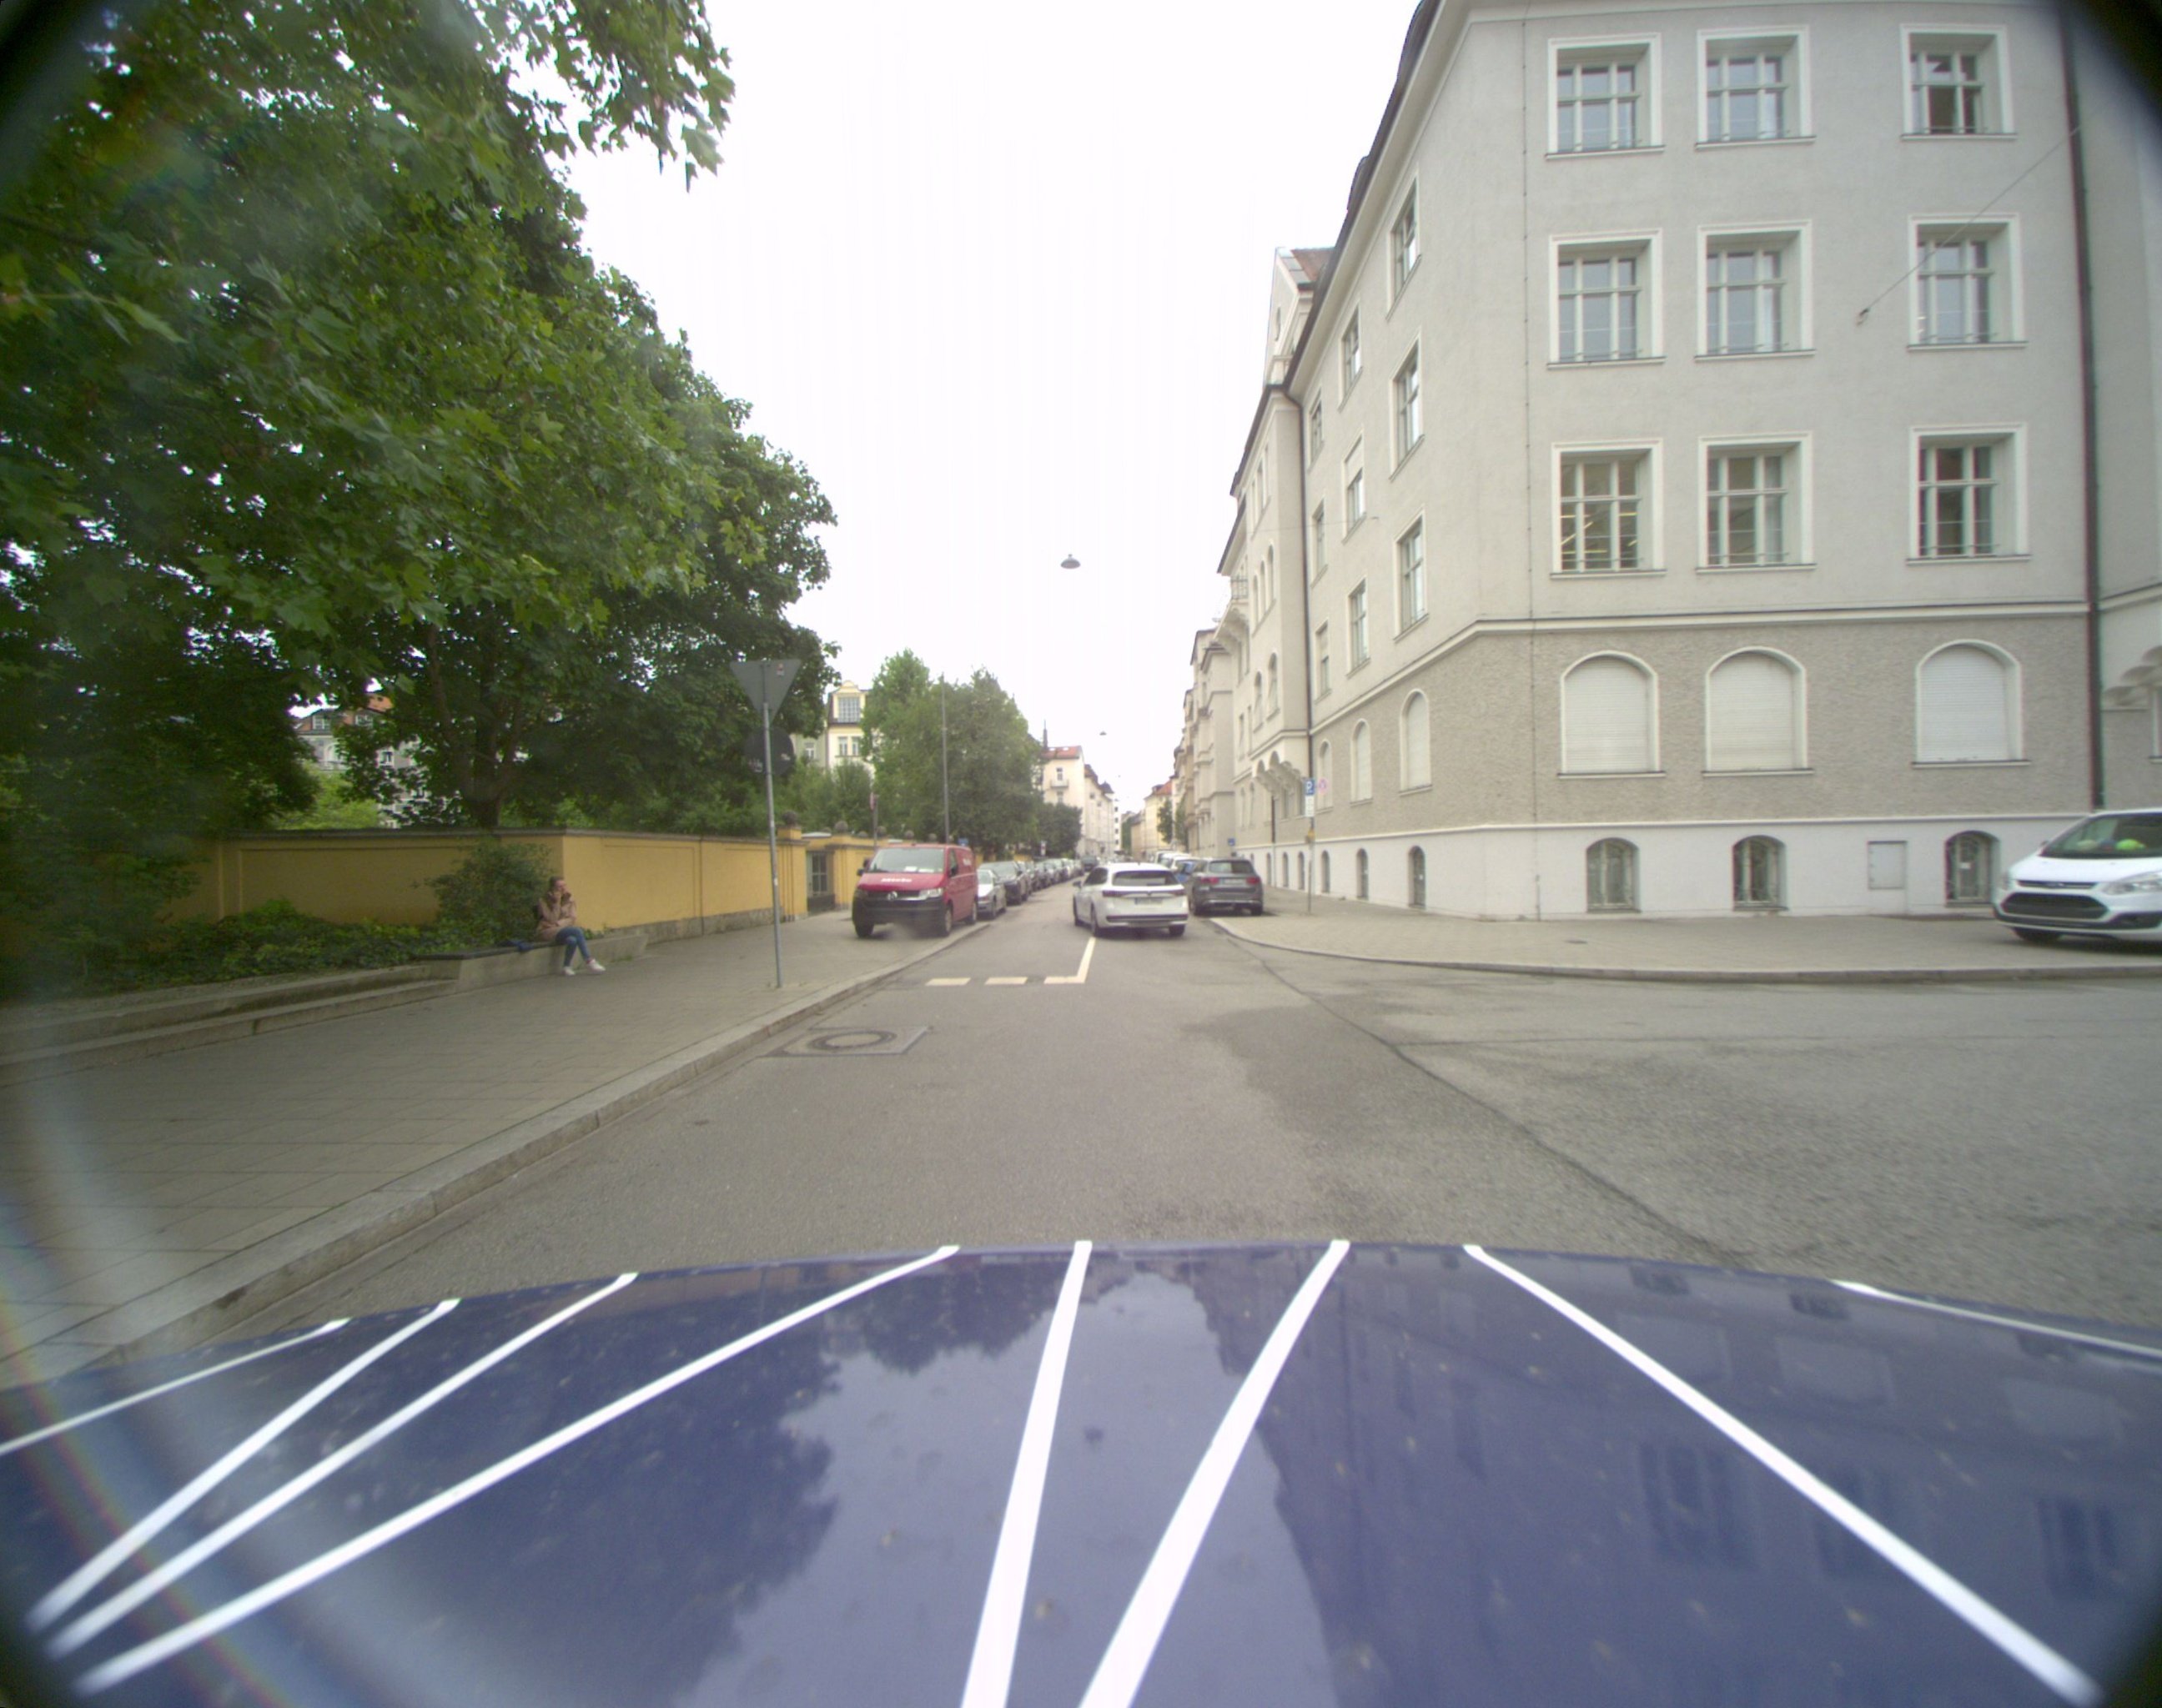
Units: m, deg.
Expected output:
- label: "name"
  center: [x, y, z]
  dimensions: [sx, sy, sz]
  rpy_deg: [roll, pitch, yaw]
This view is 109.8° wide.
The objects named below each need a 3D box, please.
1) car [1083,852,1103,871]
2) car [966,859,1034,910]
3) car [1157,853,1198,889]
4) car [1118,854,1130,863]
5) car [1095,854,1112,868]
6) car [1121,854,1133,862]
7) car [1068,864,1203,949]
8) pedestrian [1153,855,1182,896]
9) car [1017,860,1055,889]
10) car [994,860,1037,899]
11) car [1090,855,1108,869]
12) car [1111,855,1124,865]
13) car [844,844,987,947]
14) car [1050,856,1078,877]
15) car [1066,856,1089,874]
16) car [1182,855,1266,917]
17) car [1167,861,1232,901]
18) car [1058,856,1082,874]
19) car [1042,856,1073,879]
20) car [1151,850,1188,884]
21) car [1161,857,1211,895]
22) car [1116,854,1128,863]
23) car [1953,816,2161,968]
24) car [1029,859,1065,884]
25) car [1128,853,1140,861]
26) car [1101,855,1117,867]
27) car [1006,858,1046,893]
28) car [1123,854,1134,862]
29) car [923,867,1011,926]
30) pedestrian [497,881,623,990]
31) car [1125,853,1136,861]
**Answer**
- label: "car"
  center: [1.397, 0.802, 85.494]
  dimensions: [1.998, 1.949, 4.434]
  rpy_deg: [-4, -1, 3]
- label: "car"
  center: [-2.954, 1.074, 28.724]
  dimensions: [1.889, 1.643, 4.824]
  rpy_deg: [-3, 0, 1]
- label: "car"
  center: [5.007, 0.840, 40.049]
  dimensions: [1.751, 1.778, 5.037]
  rpy_deg: [0, 0, 3]
- label: "car"
  center: [8.894, 0.923, 157.682]
  dimensions: [1.997, 1.585, 4.301]
  rpy_deg: [-4, -1, 7]
- label: "car"
  center: [2.955, 0.940, 100.565]
  dimensions: [1.998, 1.585, 4.300]
  rpy_deg: [-4, -1, 4]
- label: "car"
  center: [9.817, 0.874, 162.755]
  dimensions: [1.997, 1.672, 4.301]
  rpy_deg: [-4, -1, 8]
- label: "car"
  center: [0.965, 0.988, 16.280]
  dimensions: [1.890, 1.440, 4.887]
  rpy_deg: [-1, 0, -8]
- label: "pedestrian"
  center: [3.810, 0.951, 33.392]
  dimensions: [0.874, 1.745, 0.966]
  rpy_deg: [-1, 0, 35]
- label: "car"
  center: [-2.435, 1.084, 42.031]
  dimensions: [1.696, 1.406, 4.037]
  rpy_deg: [-3, 0, 2]
- label: "car"
  center: [-2.849, 1.065, 33.608]
  dimensions: [1.488, 1.530, 3.692]
  rpy_deg: [-3, 0, 0]
- label: "car"
  center: [2.239, 1.020, 95.650]
  dimensions: [1.998, 1.642, 4.450]
  rpy_deg: [-4, -1, 3]
- label: "car"
  center: [6.658, 1.032, 137.466]
  dimensions: [1.997, 1.585, 4.301]
  rpy_deg: [-4, -1, 7]
- label: "car"
  center: [-3.459, 0.792, 16.899]
  dimensions: [1.878, 1.909, 4.888]
  rpy_deg: [-2, 0, 2]
- label: "car"
  center: [-1.265, 0.929, 58.305]
  dimensions: [1.717, 1.561, 4.321]
  rpy_deg: [-1, 0, 3]
- label: "car"
  center: [-0.307, 0.956, 67.742]
  dimensions: [1.717, 1.445, 4.956]
  rpy_deg: [-1, 0, 3]
- label: "car"
  center: [4.033, 0.839, 22.125]
  dimensions: [1.751, 1.593, 4.497]
  rpy_deg: [0, 0, 2]
- label: "car"
  center: [4.530, 1.006, 29.572]
  dimensions: [1.697, 1.406, 3.661]
  rpy_deg: [0, 0, -5]
- label: "car"
  center: [-0.888, 0.901, 63.021]
  dimensions: [1.717, 1.445, 4.185]
  rpy_deg: [-1, 0, 3]
- label: "car"
  center: [-1.613, 0.906, 53.024]
  dimensions: [1.717, 1.561, 4.692]
  rpy_deg: [-1, 0, 3]
- label: "car"
  center: [5.326, 0.743, 46.203]
  dimensions: [1.860, 1.927, 4.958]
  rpy_deg: [0, 0, 3]
- label: "car"
  center: [4.649, 0.942, 34.256]
  dimensions: [1.751, 1.593, 4.497]
  rpy_deg: [0, 0, 2]
- label: "car"
  center: [7.968, 0.958, 148.124]
  dimensions: [1.997, 1.585, 4.301]
  rpy_deg: [-4, -1, 7]
- label: "car"
  center: [15.429, 0.425, 10.349]
  dimensions: [4.907, 1.870, 1.925]
  rpy_deg: [-1, 0, 0]
- label: "car"
  center: [-2.066, 1.049, 47.007]
  dimensions: [1.695, 1.406, 4.517]
  rpy_deg: [-1, 0, 4]
- label: "car"
  center: [12.685, 0.737, 181.752]
  dimensions: [1.997, 1.585, 4.302]
  rpy_deg: [-4, -1, 11]
- label: "car"
  center: [4.168, 1.031, 112.721]
  dimensions: [1.997, 1.585, 4.301]
  rpy_deg: [-4, -1, 7]
- label: "car"
  center: [-2.706, 1.047, 38.038]
  dimensions: [1.511, 1.557, 2.870]
  rpy_deg: [-3, 0, 4]
- label: "car"
  center: [10.539, 0.867, 168.148]
  dimensions: [1.997, 1.585, 4.430]
  rpy_deg: [-4, -1, 8]
- label: "car"
  center: [-3.276, 1.176, 22.634]
  dimensions: [1.889, 1.440, 4.368]
  rpy_deg: [-3, 0, 0]
- label: "pedestrian"
  center: [-6.836, 1.048, 10.015]
  dimensions: [1.011, 1.330, 0.877]
  rpy_deg: [-1, 1, 6]
- label: "car"
  center: [11.347, 0.715, 172.969]
  dimensions: [1.997, 1.585, 4.302]
  rpy_deg: [-4, -1, 10]
